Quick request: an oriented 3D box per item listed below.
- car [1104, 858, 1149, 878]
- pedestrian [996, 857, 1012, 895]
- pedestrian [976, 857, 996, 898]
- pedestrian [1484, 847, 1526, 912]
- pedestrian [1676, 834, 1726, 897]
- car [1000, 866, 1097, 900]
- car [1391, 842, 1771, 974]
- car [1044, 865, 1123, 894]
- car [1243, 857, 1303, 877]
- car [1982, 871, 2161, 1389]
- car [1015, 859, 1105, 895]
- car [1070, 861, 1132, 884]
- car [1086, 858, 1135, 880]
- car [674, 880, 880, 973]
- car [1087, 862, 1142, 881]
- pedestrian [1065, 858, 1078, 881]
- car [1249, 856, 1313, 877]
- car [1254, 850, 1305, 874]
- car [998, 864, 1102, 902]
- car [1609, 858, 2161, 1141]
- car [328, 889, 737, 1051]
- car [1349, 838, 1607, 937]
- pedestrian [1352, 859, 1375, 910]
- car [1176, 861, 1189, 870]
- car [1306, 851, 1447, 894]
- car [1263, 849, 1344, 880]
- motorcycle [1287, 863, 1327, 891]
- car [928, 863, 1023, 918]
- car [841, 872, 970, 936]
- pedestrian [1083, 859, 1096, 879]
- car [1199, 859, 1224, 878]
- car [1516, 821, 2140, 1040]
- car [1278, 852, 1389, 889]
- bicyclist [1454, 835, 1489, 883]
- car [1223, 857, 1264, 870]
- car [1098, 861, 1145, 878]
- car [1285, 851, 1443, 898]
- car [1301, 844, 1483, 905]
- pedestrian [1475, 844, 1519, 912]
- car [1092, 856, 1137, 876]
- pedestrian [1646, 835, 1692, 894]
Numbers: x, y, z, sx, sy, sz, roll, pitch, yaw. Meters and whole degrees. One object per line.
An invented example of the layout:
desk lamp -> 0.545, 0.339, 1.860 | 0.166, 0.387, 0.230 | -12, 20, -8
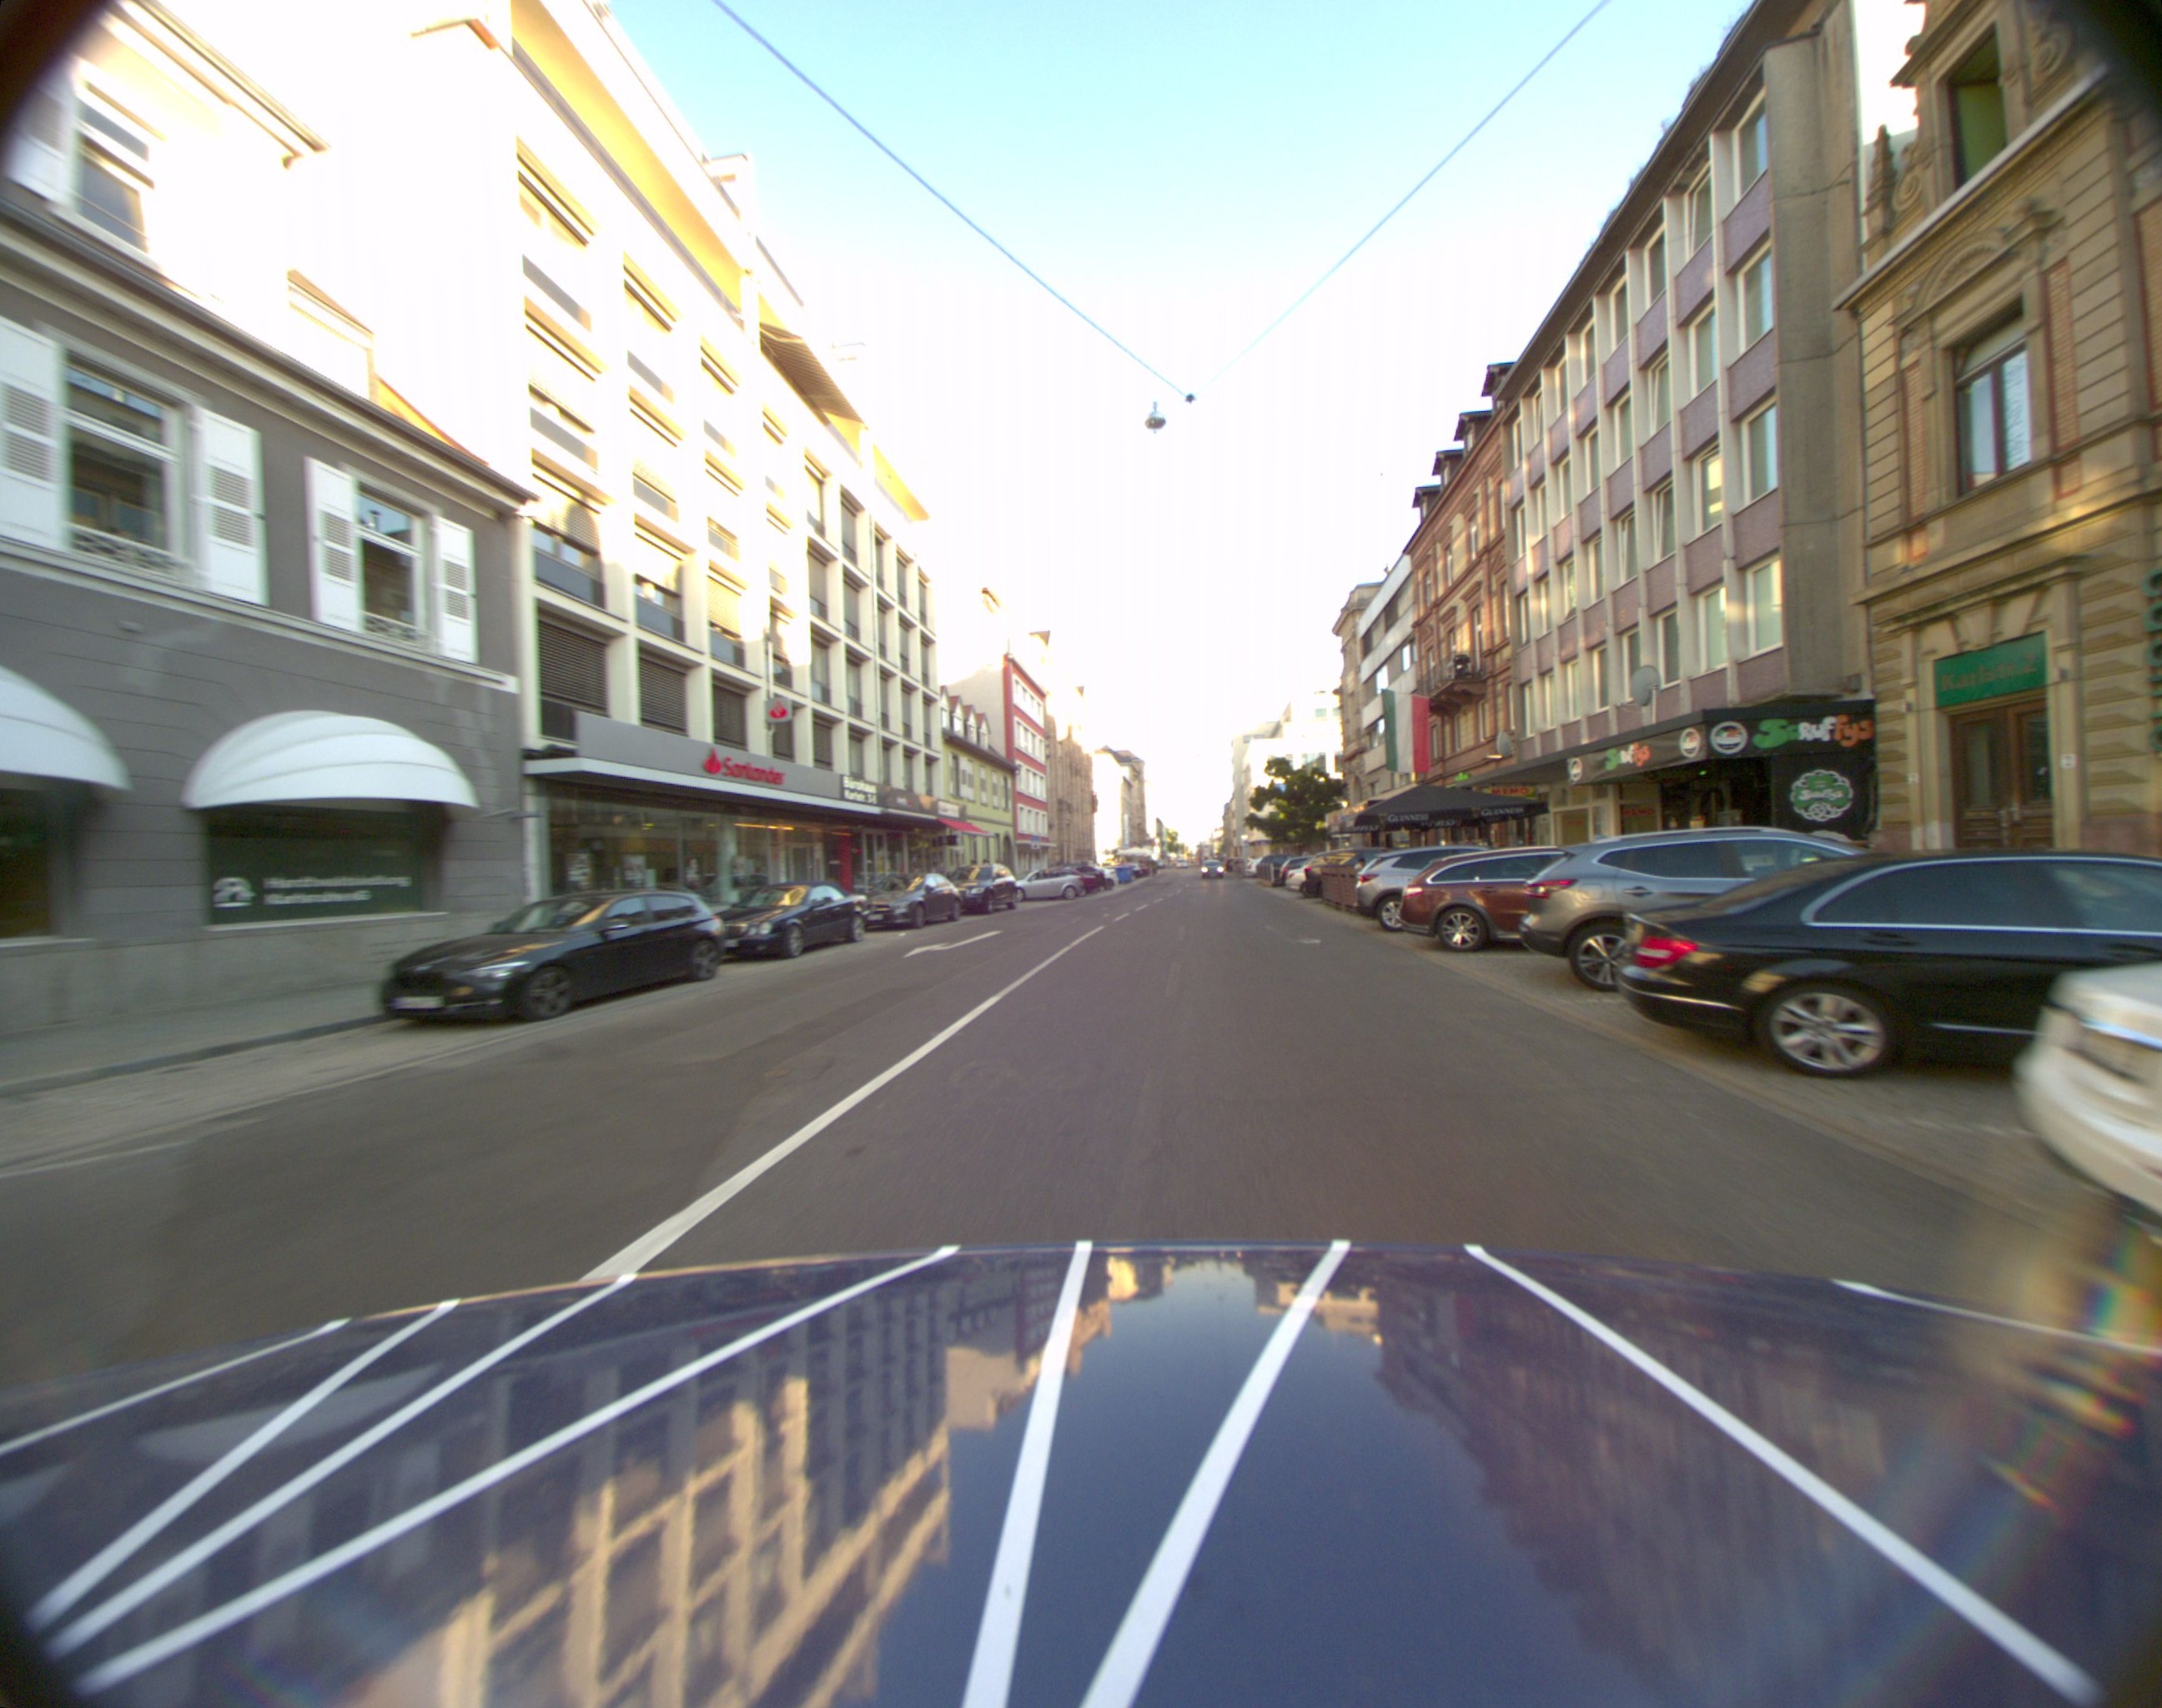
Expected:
car -> 4.350, 1.337, 72.388 | 3.839, 1.714, 1.752 | -3, -1, -16
pedestrian -> -3.978, 1.129, 39.225 | 0.612, 1.876, 0.719 | -2, 0, 8
pedestrian -> -4.905, 1.204, 39.297 | 0.762, 2.055, 0.719 | -2, 0, 8
pedestrian -> 9.500, 0.561, 17.024 | 0.576, 1.408, 0.676 | -2, 0, 8
pedestrian -> 13.118, 0.242, 16.076 | 0.573, 1.301, 0.576 | -2, 0, 10
car -> -1.565, 1.357, 36.392 | 4.233, 1.431, 1.751 | -2, 0, -25
car -> 7.001, 0.711, 10.983 | 4.285, 1.539, 1.714 | -3, 0, 39
car -> 0.150, 1.461, 44.636 | 4.232, 1.465, 1.751 | -2, 0, -21
car -> 15.022, 0.999, 59.317 | 4.417, 1.417, 1.911 | -2, -1, 17
car -> 5.275, 0.718, 1.200 | 4.617, 1.502, 1.772 | -5, -1, 37
car -> -1.098, 1.165, 39.224 | 4.233, 1.666, 1.751 | -2, 0, -25
car -> 1.477, 1.351, 56.203 | 4.232, 1.465, 1.751 | -2, 0, -21
car -> 2.527, 1.313, 66.162 | 3.839, 1.742, 1.752 | -2, 0, -16
car -> -5.754, 1.313, 15.102 | 1.746, 1.379, 4.504 | -2, -1, 8
car -> 2.779, 1.446, 63.342 | 4.230, 1.465, 1.752 | -2, 0, -16
pedestrian -> -0.798, 1.309, 64.583 | 0.849, 1.932, 1.014 | -2, 0, 14
car -> 14.704, 0.917, 55.891 | 4.417, 1.417, 1.911 | -2, -1, 17
car -> 18.047, 0.729, 69.072 | 4.417, 1.951, 1.911 | -2, -1, 17
car -> -1.355, 1.261, 33.777 | 4.235, 1.431, 1.750 | -2, 0, -33
car -> 5.910, 0.772, 4.755 | 4.240, 1.439, 1.714 | -2, -1, 34
car -> -6.567, 1.293, 9.833 | 1.745, 1.438, 4.253 | -2, -1, 9
car -> 7.439, 0.649, 14.482 | 4.042, 1.619, 1.856 | -4, -1, 30
pedestrian -> 7.985, 0.845, 21.481 | 0.575, 1.408, 0.542 | -2, 0, 20
car -> 16.104, 1.793, 120.582 | 1.905, 1.417, 4.429 | -2, -1, 10
car -> 11.484, 0.748, 29.631 | 4.830, 1.495, 1.912 | -3, -1, 30
car -> 14.109, 0.669, 48.289 | 4.832, 1.763, 1.911 | -2, -1, 17
motorcycle -> 9.819, 1.010, 33.031 | 1.584, 1.151, 0.458 | -2, 1, 24
car -> -3.504, 1.180, 26.116 | 1.830, 1.649, 4.367 | -2, 0, 11
car -> -4.671, 1.280, 20.938 | 1.745, 1.437, 4.563 | -2, -1, 10
pedestrian -> 0.761, 1.351, 68.855 | 0.849, 1.789, 1.014 | -2, 0, 14
car -> 10.744, 1.142, 62.444 | 1.905, 1.417, 4.429 | -2, -1, 10
car -> 6.775, 0.630, 7.592 | 4.040, 1.646, 1.797 | -2, -1, 34
car -> 11.908, 0.790, 36.175 | 4.833, 1.558, 1.910 | -2, -1, 13
bicyclist -> 13.329, 0.167, 25.968 | 0.767, 1.550, 0.813 | -3, 0, 8
car -> 18.581, 1.078, 86.682 | 4.417, 1.417, 1.911 | -2, -1, 17
car -> 3.667, 1.392, 69.225 | 3.839, 1.339, 1.737 | -3, -1, -16
car -> 9.954, 0.756, 26.930 | 4.829, 1.495, 1.912 | -3, -1, 38
car -> 9.541, 0.658, 23.512 | 4.829, 1.722, 1.912 | -3, -1, 36
pedestrian -> 8.875, 0.508, 16.235 | 0.576, 1.408, 0.676 | -2, 0, 8
car -> 3.404, 1.232, 77.319 | 4.230, 1.871, 1.752 | -2, 0, -16
pedestrian -> 13.266, 0.239, 17.152 | 0.573, 1.301, 0.576 | -2, 0, 10
